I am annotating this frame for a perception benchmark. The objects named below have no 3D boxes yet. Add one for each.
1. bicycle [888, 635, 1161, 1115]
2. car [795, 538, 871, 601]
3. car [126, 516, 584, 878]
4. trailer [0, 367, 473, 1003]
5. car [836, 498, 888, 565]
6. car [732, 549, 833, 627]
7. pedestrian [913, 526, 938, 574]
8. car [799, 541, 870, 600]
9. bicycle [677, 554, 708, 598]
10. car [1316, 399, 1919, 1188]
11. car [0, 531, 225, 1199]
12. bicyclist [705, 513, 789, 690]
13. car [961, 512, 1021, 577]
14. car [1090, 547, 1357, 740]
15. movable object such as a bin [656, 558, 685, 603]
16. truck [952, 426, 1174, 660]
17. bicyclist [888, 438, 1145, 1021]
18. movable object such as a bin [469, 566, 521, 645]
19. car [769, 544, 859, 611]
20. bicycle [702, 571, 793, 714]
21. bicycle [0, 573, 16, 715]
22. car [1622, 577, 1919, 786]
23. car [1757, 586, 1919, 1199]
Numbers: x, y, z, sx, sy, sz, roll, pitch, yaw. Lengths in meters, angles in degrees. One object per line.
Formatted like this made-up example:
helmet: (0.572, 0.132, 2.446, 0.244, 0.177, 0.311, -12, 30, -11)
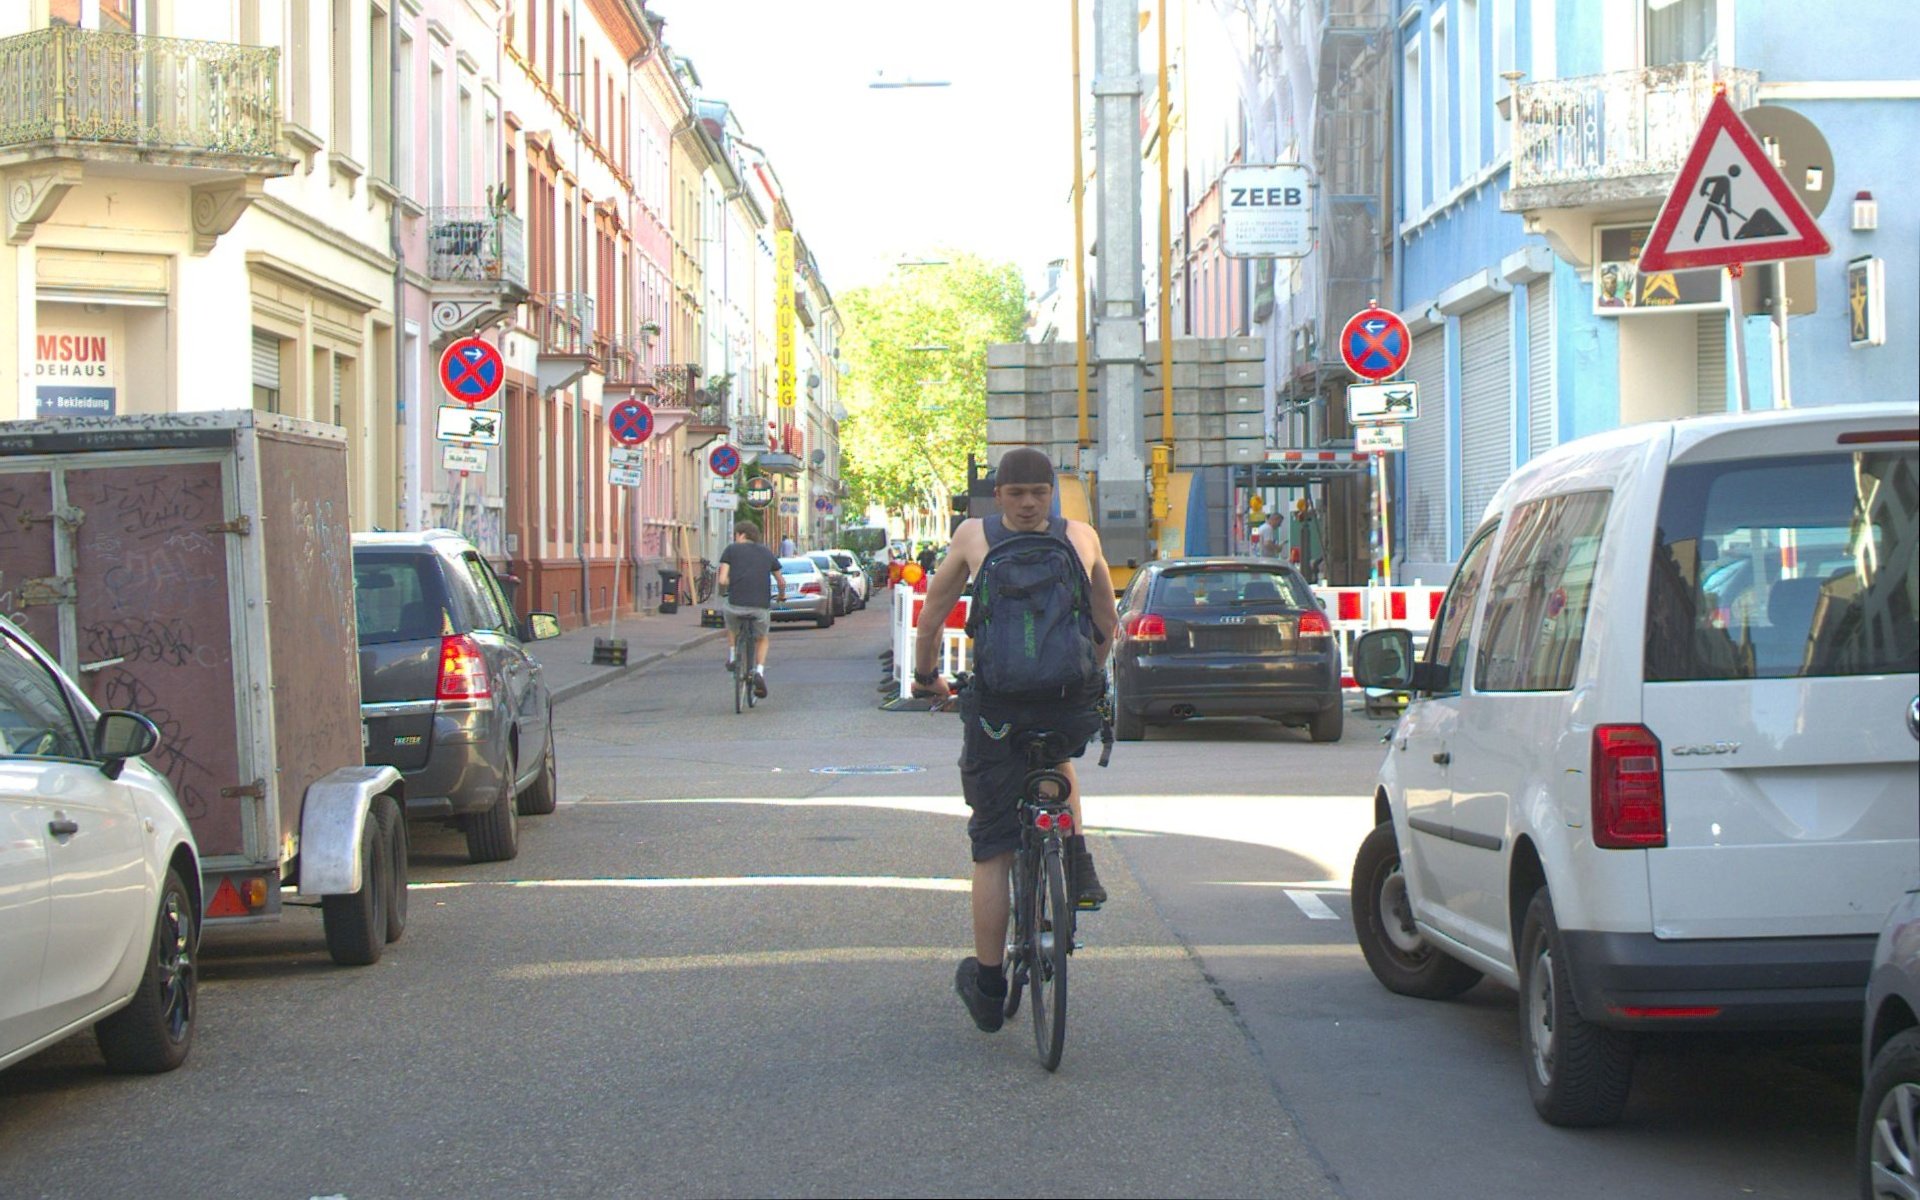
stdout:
bicycle: (0.168, 0.734, 10.199, 0.702, 1.204, 2.342, 1, 1, 0)
car: (-3.100, -0.744, 84.303, 1.672, 1.437, 4.165, -3, 1, 0)
car: (-2.986, 0.391, 17.768, 1.722, 1.600, 4.167, -2, 1, -2)
trailer: (-2.975, 0.267, 13.485, 1.661, 2.054, 4.364, -2, 1, -3)
car: (-3.780, -2.640, 131.937, 1.909, 2.488, 4.166, -1, 1, -2)
car: (-3.417, -0.250, 66.781, 1.710, 1.378, 4.506, -3, 1, 0)
pedestrian: (-1.159, -1.664, 114.010, 0.770, 1.573, 0.900, 1, 0, -3)
car: (-3.279, -0.775, 90.353, 1.672, 1.437, 3.768, -3, 1, 0)
bicycle: (-6.641, -0.599, 85.398, 0.592, 1.085, 2.079, 1, 1, 0)
car: (2.185, 0.418, 10.126, 1.748, 1.810, 4.370, -1, 1, -1)
car: (-3.091, 0.634, 8.606, 1.676, 1.549, 3.818, -2, 1, -1)
bicyclist: (-1.971, 0.002, 31.881, 0.702, 1.599, 0.813, -1, 2, -1)
car: (1.253, -2.271, 142.465, 2.307, 2.529, 6.770, -3, 1, 0)
car: (2.050, 0.297, 27.752, 1.771, 1.429, 4.034, 0, 1, -1)
movable object such as a bin: (-6.131, -0.416, 72.805, 0.543, 0.941, 0.487, 1, 0, 1)
truck: (1.259, -0.729, 45.457, 2.661, 2.804, 7.393, 1, 1, 0)
bicyclist: (0.157, 0.359, 10.204, 0.702, 1.627, 1.090, 1, 0, 0)
movable object such as a bin: (-6.144, 0.067, 45.434, 0.605, 1.032, 0.596, 1, 0, -1)
car: (-3.278, -0.528, 77.840, 1.710, 1.378, 4.356, 0, 2, 2)
bicycle: (-1.956, 0.370, 31.927, 0.702, 1.203, 2.342, -1, 2, -1)
bicycle: (-8.703, 0.345, 27.883, 1.922, 1.145, 0.612, 1, 0, 6)
car: (6.932, 0.570, 25.097, 3.867, 1.448, 1.677, 0, 1, 0)
car: (2.488, 0.676, 5.144, 1.608, 1.403, 3.882, -2, 1, -1)
